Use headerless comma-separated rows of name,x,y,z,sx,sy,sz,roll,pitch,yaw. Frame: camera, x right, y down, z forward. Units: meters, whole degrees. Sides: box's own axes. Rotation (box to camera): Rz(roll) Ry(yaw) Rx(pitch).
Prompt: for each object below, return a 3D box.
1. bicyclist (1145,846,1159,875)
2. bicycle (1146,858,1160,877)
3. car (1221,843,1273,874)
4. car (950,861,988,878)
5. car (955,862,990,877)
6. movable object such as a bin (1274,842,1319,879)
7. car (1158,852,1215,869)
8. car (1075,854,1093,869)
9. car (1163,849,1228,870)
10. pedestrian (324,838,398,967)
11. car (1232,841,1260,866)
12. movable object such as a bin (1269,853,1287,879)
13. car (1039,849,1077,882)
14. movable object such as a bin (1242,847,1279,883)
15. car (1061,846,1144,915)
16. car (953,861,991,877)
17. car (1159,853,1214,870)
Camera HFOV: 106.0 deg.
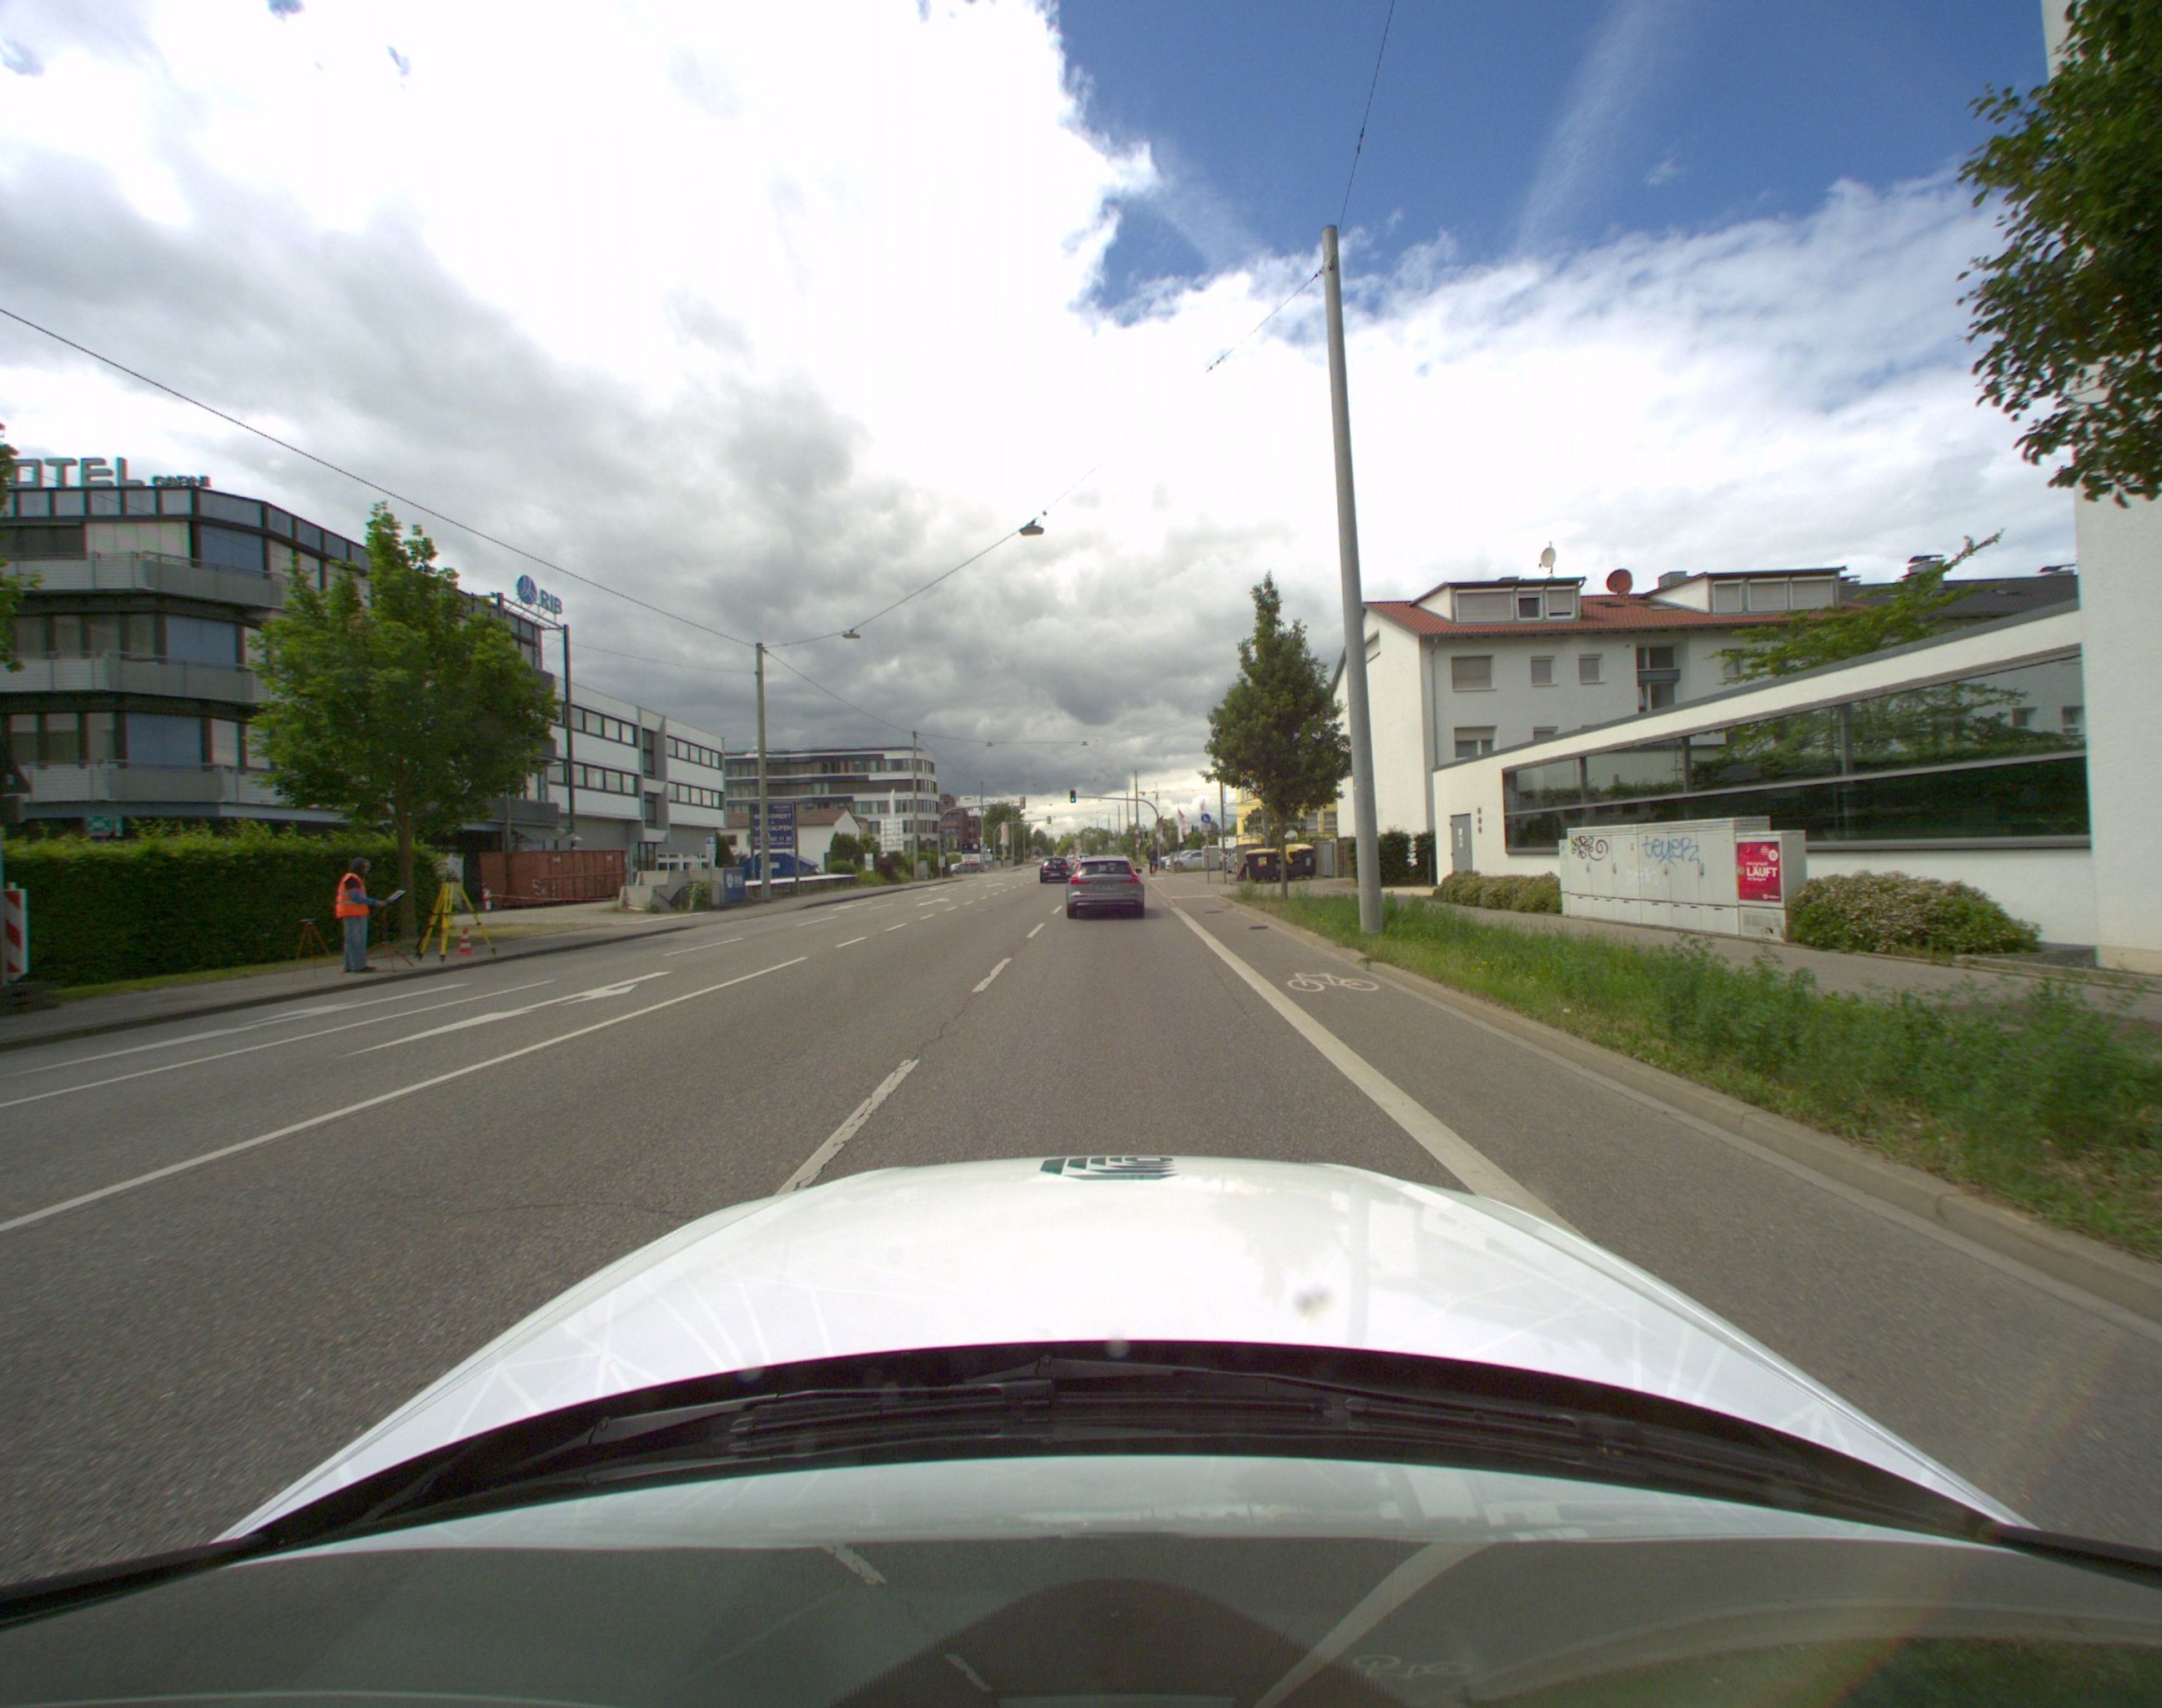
bicyclist,4.258,0.398,48.581,0.635,1.675,0.890,-5,-1,2
bicycle,4.298,0.794,48.579,0.635,1.063,1.978,-5,0,2
car,9.032,0.219,44.636,1.869,1.545,4.521,-2,0,0
car,-12.801,1.786,93.096,4.088,1.397,1.904,-8,1,-6
car,-13.415,1.926,100.795,3.976,1.369,1.847,-8,-1,-1
movable object such as a bin,8.757,0.278,33.079,1.306,1.435,1.259,-3,-2,38
car,9.060,0.566,70.483,4.781,1.480,2.033,0,0,2
car,0.390,0.898,93.445,1.987,1.695,4.000,0,-1,1
car,8.638,0.424,61.860,4.680,1.493,2.046,-1,0,0
pedestrian,-11.706,0.765,13.246,0.717,2.014,0.815,-1,-2,44
car,13.093,0.019,64.593,1.963,1.821,5.045,-3,-1,11
movable object such as a bin,8.146,0.502,33.661,0.561,1.026,0.408,-3,-2,38
car,-1.248,0.658,45.520,1.988,1.717,3.998,0,-1,-1
movable object such as a bin,7.222,0.453,32.746,1.308,1.361,1.257,-2,-2,17
car,0.567,0.645,20.501,1.888,1.554,4.002,0,-1,2
car,-13.127,1.796,98.249,4.217,1.387,1.981,-8,-1,-5
car,8.742,0.595,67.630,4.355,1.404,1.988,0,0,-1
